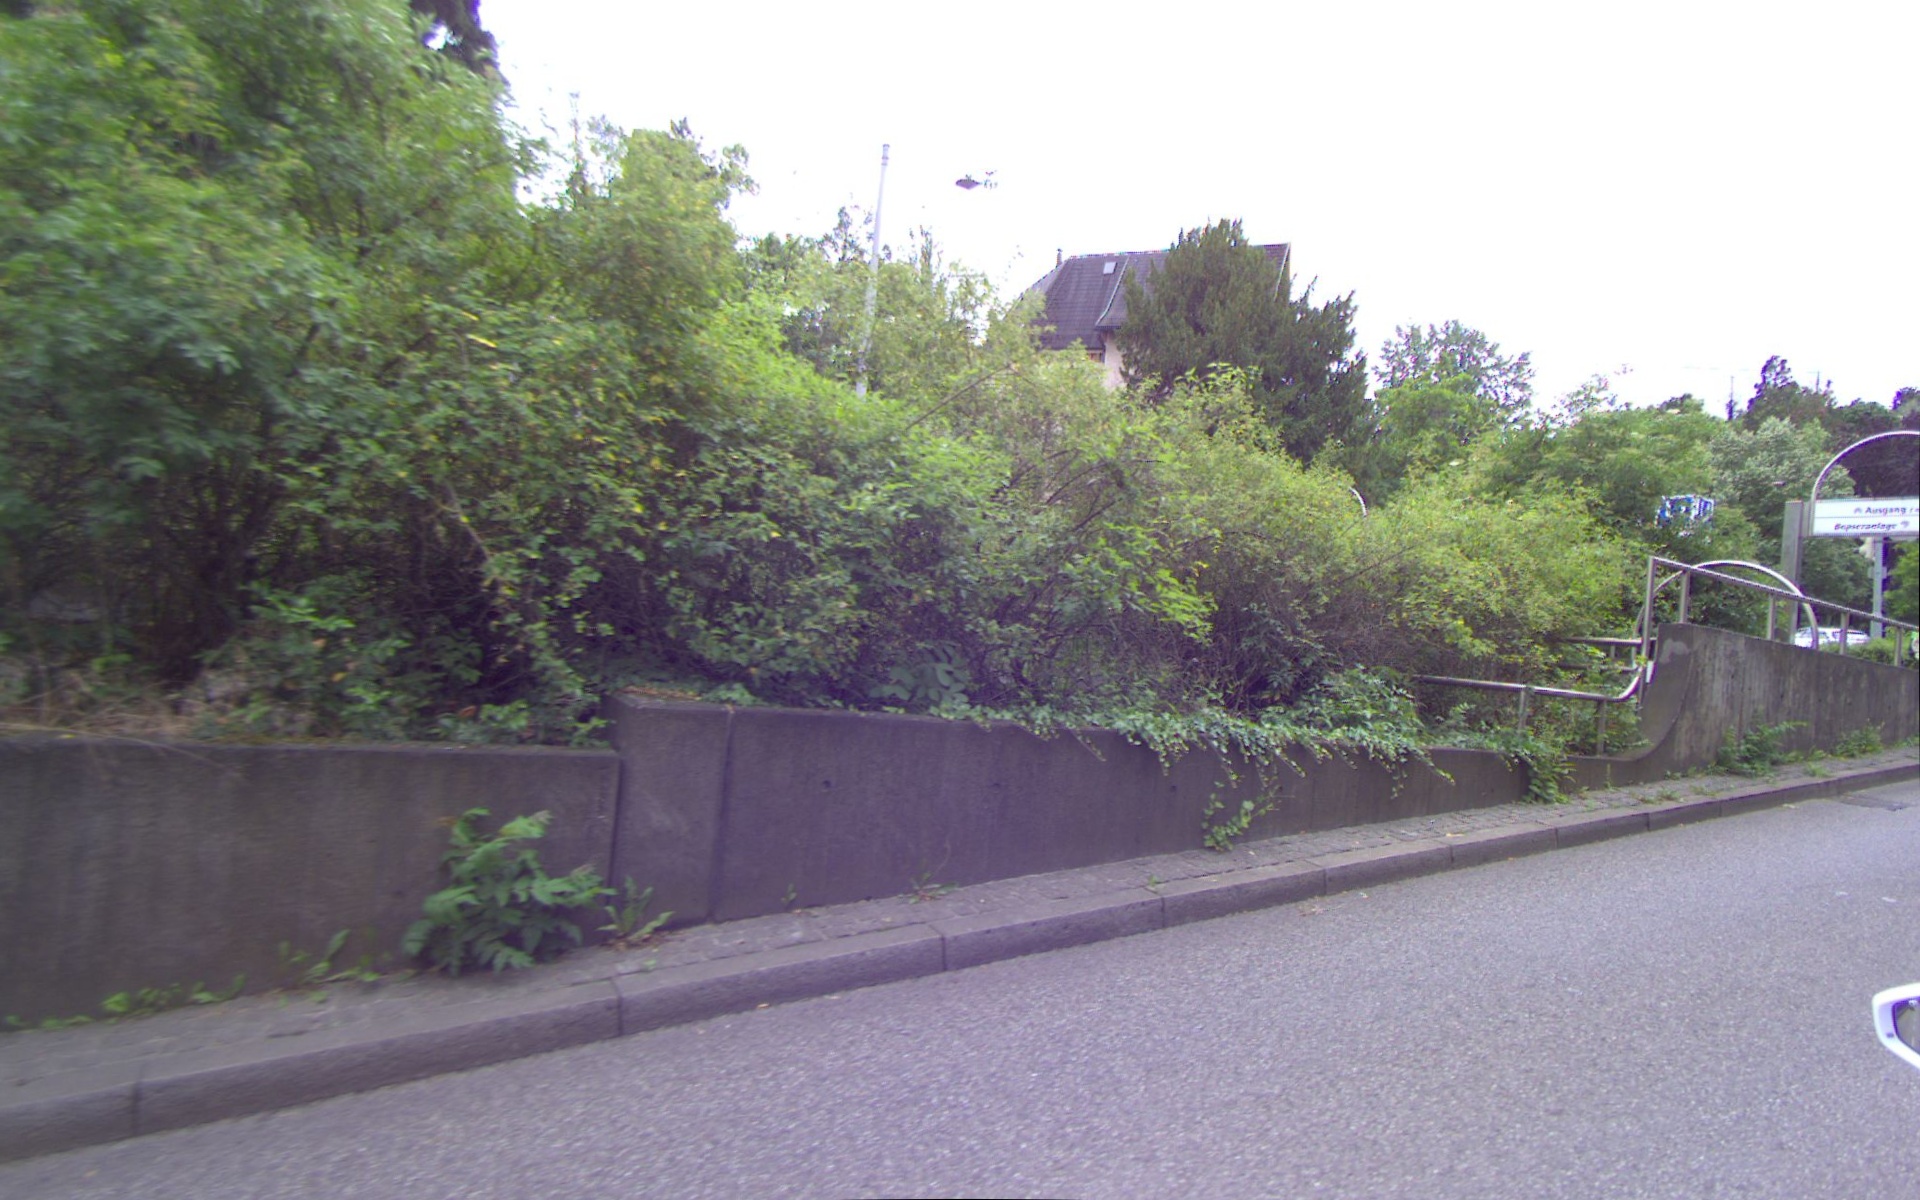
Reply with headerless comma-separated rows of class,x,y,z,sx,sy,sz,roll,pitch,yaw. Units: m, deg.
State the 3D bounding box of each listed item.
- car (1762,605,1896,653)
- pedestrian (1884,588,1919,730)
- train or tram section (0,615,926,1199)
car,34.370,1.093,39.906,2.210,1.539,4.309,7,1,15
pedestrian,13.081,0.794,13.542,0.605,1.886,0.703,2,0,-24
train or tram section,-6.575,1.880,5.941,12.842,3.554,2.934,4,-2,-31
